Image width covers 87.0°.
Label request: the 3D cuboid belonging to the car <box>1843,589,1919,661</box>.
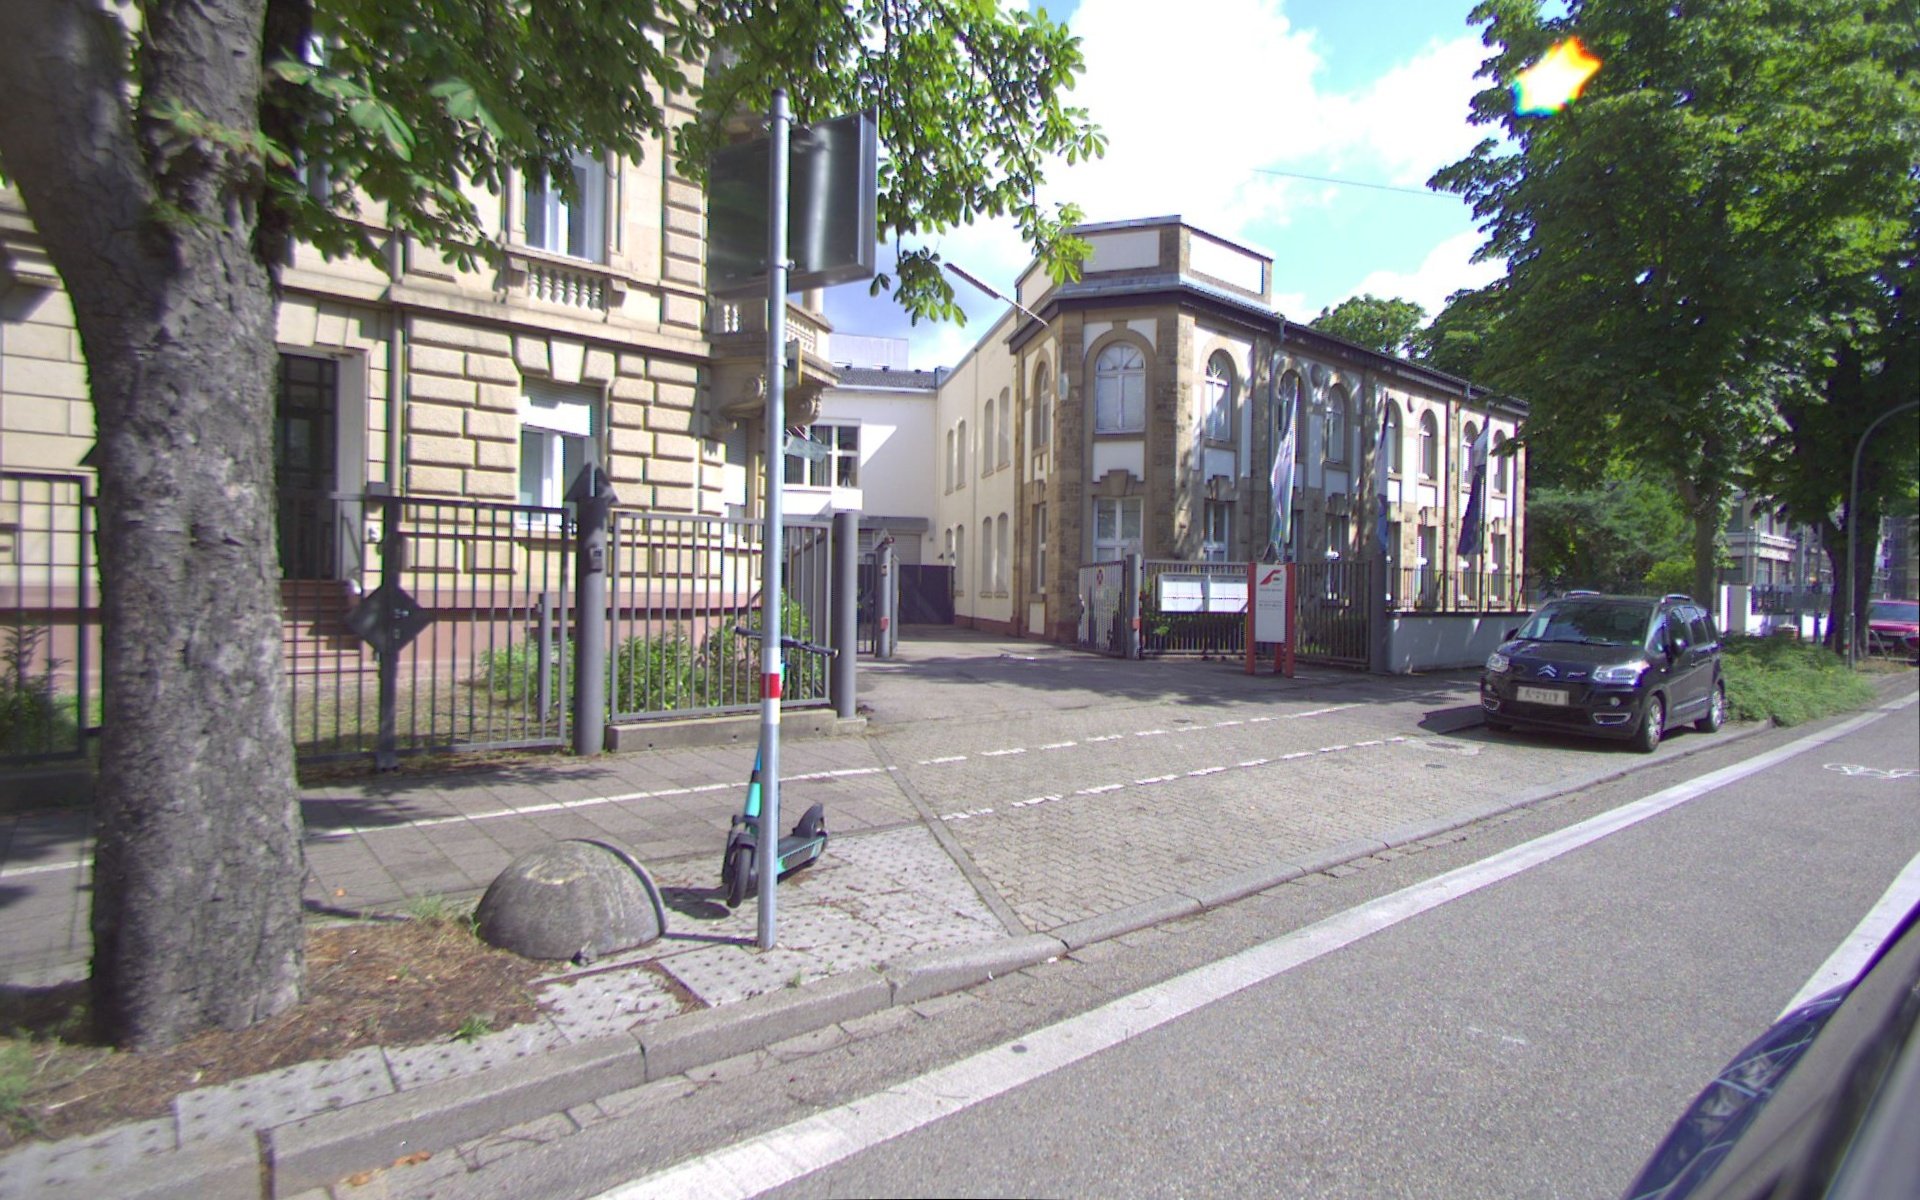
[{"bbox_3d":[24.921,0.621,26.751,4.209,1.697,1.879,0,3,-43],"label":"car"}]

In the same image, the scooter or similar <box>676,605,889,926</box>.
[{"bbox_3d":[-0.810,0.703,4.899,0.436,1.315,1.175,4,2,18],"label":"scooter or similar"}]

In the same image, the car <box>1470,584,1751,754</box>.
[{"bbox_3d":[7.792,0.654,11.965,4.130,1.610,1.700,0,3,-42],"label":"car"}]

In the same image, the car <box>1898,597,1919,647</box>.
[{"bbox_3d":[30.396,0.712,31.391,3.536,1.445,1.603,-1,4,-43],"label":"car"}]

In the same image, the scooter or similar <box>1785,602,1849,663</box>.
[{"bbox_3d":[18.348,0.696,21.660,1.233,1.252,0.343,2,3,-16],"label":"scooter or similar"}]
